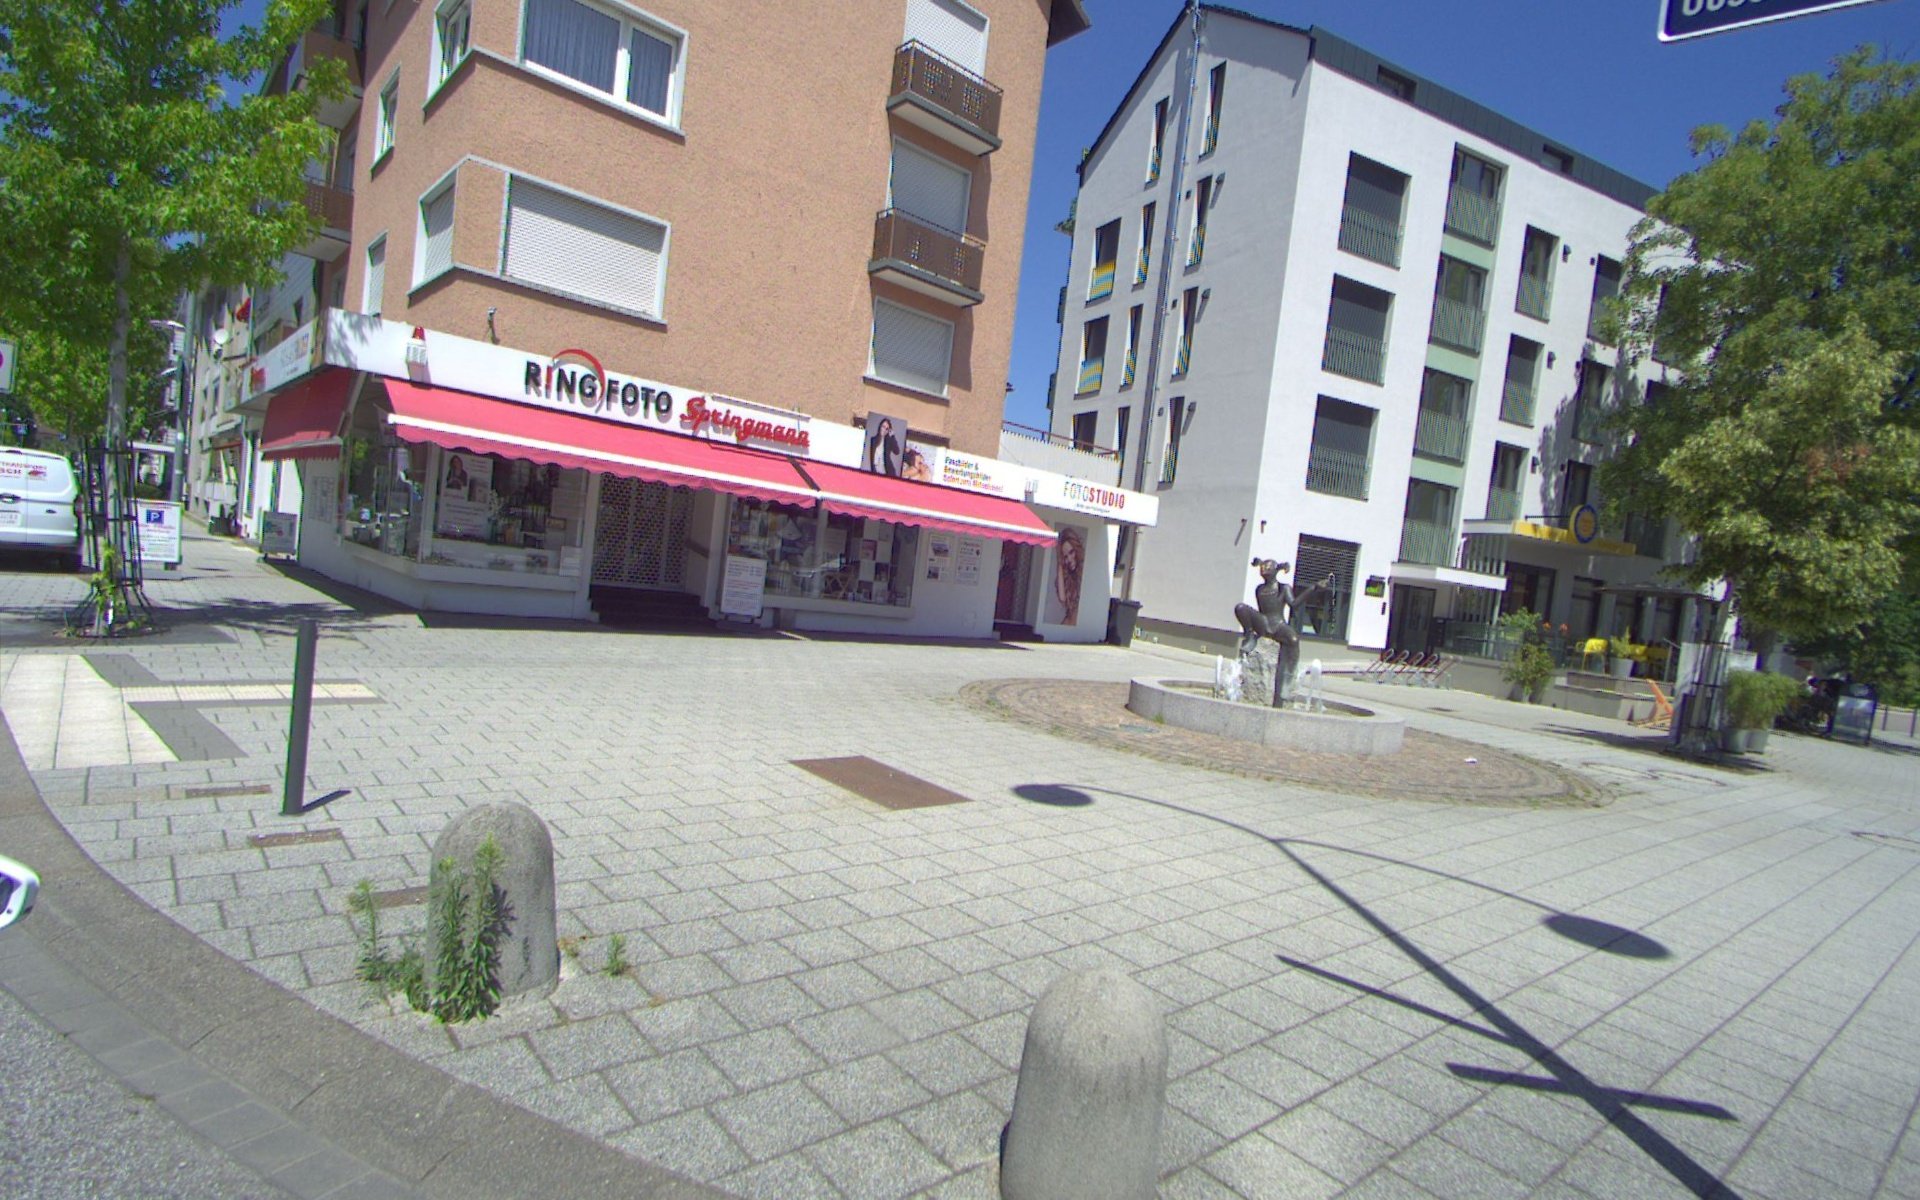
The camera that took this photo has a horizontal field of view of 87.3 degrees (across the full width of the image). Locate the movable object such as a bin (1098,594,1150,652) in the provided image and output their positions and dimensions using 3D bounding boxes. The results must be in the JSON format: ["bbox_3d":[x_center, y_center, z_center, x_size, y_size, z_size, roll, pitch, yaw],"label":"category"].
[{"bbox_3d":[3.726,0.525,22.885,0.750,1.171,0.768,5,5,-23],"label":"movable object such as a bin"}]

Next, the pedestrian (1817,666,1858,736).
[{"bbox_3d":[22.218,2.544,25.480,0.399,1.652,0.649,9,6,25],"label":"pedestrian"}]

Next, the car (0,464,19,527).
[{"bbox_3d":[-26.205,-2.875,26.660,1.614,1.580,3.796,4,3,-40],"label":"car"}]

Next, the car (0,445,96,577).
[{"bbox_3d":[-14.498,-1.418,15.040,3.853,1.748,1.743,7,4,39],"label":"car"}]

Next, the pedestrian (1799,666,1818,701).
[{"bbox_3d":[46.382,4.552,54.973,0.541,1.840,0.840,11,7,41],"label":"pedestrian"}]
